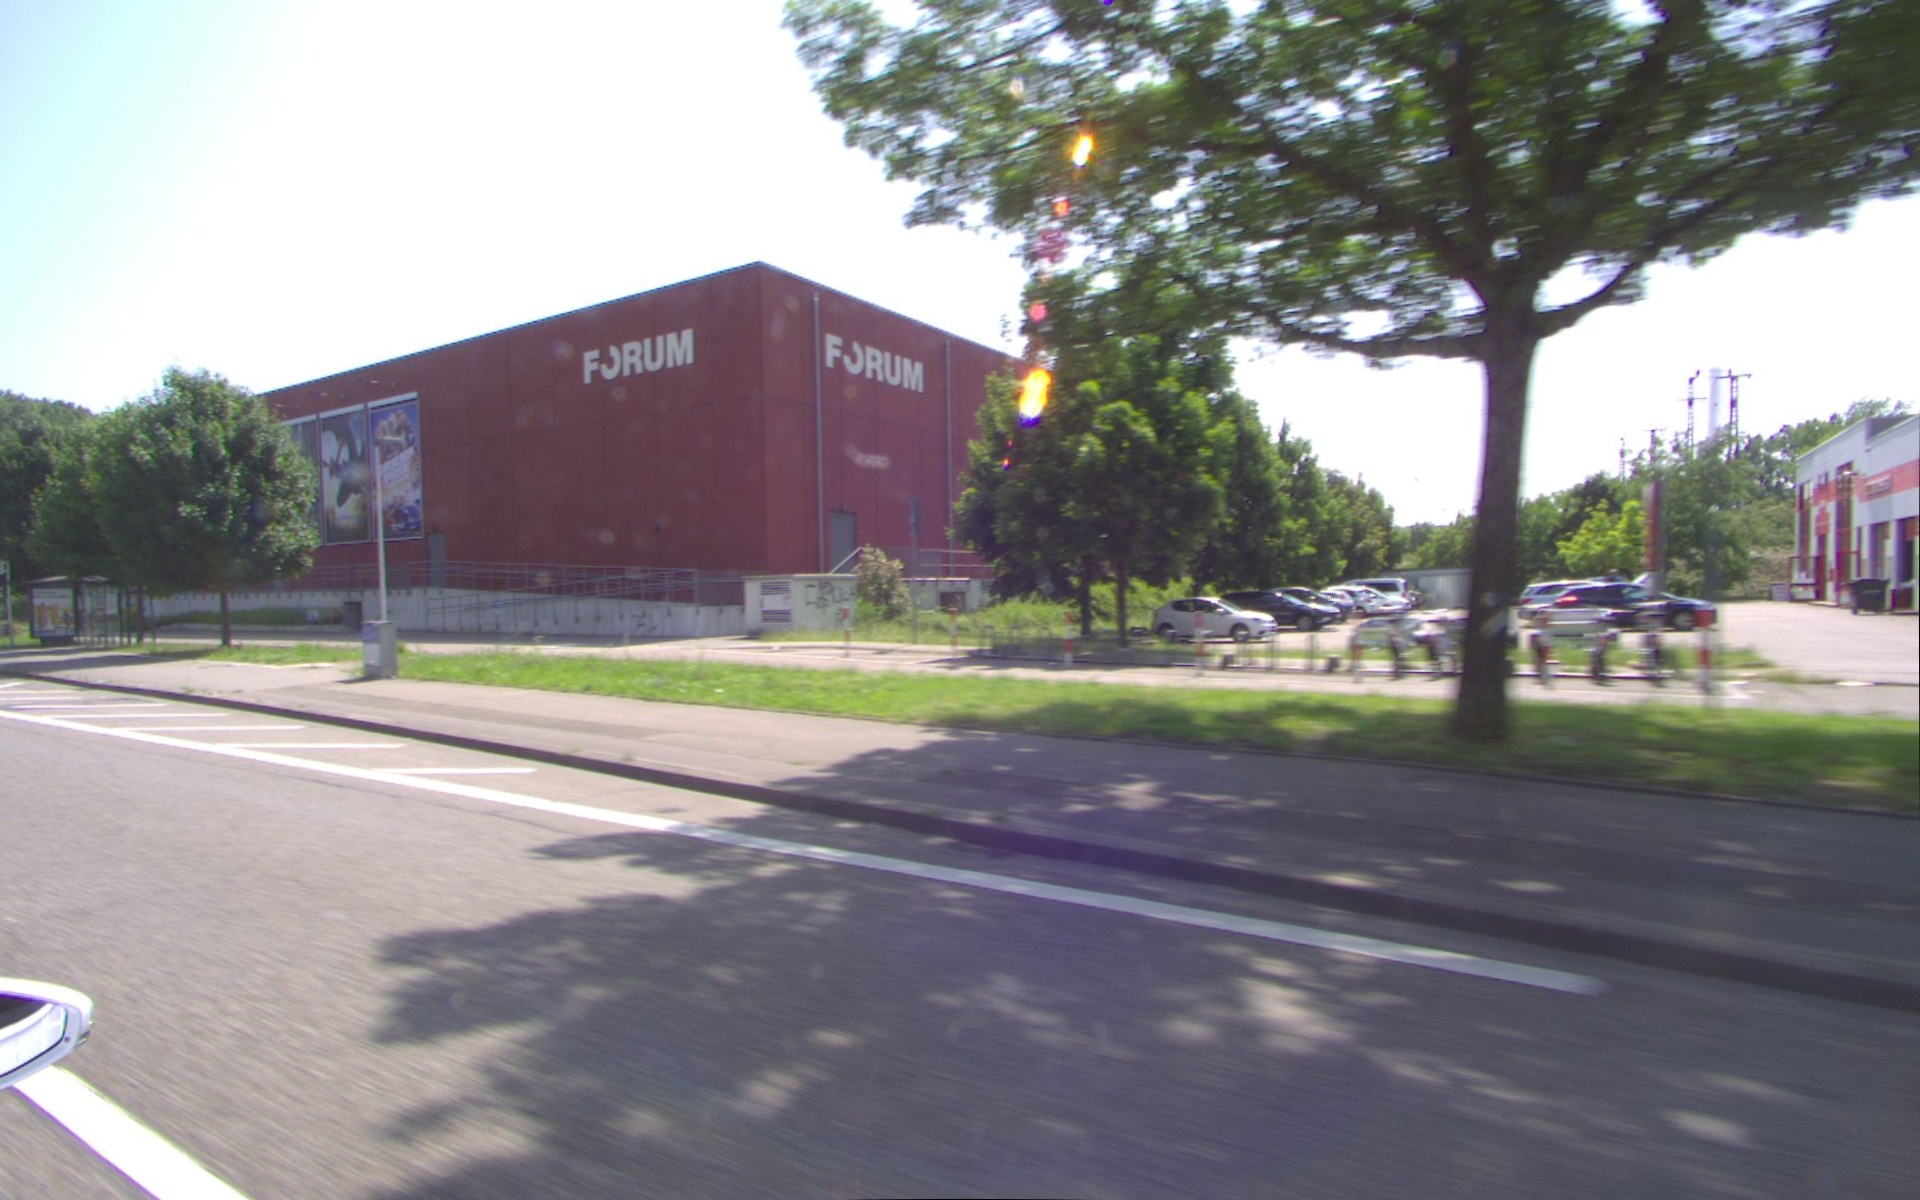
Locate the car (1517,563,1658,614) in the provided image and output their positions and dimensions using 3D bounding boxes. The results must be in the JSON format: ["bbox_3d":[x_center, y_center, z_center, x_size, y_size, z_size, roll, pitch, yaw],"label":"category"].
[{"bbox_3d":[21.794,-0.367,34.901,4.086,1.685,1.708,0,1,33],"label":"car"}]

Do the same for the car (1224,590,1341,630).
[{"bbox_3d":[12.282,0.352,38.228,3.945,1.445,1.701,0,1,34],"label":"car"}]

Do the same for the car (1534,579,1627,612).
[{"bbox_3d":[31.237,-0.227,50.481,3.943,1.628,1.702,0,1,32],"label":"car"}]

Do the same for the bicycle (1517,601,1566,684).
[{"bbox_3d":[8.661,0.602,14.956,0.506,1.139,1.778,0,1,26],"label":"bicycle"}]

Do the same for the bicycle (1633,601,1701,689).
[{"bbox_3d":[10.001,0.602,14.213,0.506,1.139,1.778,0,1,26],"label":"bicycle"}]

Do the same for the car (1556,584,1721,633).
[{"bbox_3d":[20.671,0.251,30.700,4.086,1.391,1.708,0,1,33],"label":"car"}]

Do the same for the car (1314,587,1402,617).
[{"bbox_3d":[20.040,0.106,50.453,3.943,1.478,1.702,0,1,32],"label":"car"}]

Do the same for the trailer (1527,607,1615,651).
[{"bbox_3d":[11.984,0.537,19.610,1.374,0.771,2.126,0,1,34],"label":"trailer"}]

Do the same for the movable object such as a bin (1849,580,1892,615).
[{"bbox_3d":[33.634,-0.102,37.017,1.053,1.276,0.996,0,2,37],"label":"movable object such as a bin"}]

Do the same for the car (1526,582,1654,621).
[{"bbox_3d":[23.249,0.054,37.082,3.943,1.391,1.717,0,1,32],"label":"car"}]

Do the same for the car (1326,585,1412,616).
[{"bbox_3d":[21.388,0.018,52.422,3.943,1.583,1.702,0,1,32],"label":"car"}]

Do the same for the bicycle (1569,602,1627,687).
[{"bbox_3d":[9.297,0.616,14.633,0.506,1.139,1.778,0,1,26],"label":"bicycle"}]

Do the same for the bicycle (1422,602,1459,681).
[{"bbox_3d":[7.607,0.620,15.842,0.506,1.139,1.778,0,1,26],"label":"bicycle"}]

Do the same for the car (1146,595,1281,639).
[{"bbox_3d":[8.125,0.519,32.168,3.916,1.331,1.644,0,1,33],"label":"car"}]

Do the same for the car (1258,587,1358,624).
[{"bbox_3d":[15.557,0.243,44.838,3.945,1.602,1.701,0,1,34],"label":"car"}]

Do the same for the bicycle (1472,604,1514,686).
[{"bbox_3d":[8.077,0.644,15.212,0.506,1.139,1.778,0,1,26],"label":"bicycle"}]

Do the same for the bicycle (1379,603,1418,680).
[{"bbox_3d":[7.135,0.639,16.251,0.506,1.139,1.778,0,1,26],"label":"bicycle"}]

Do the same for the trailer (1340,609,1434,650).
[{"bbox_3d":[9.191,0.607,21.489,1.429,0.771,2.454,0,1,34],"label":"trailer"}]

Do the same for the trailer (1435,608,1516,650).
[{"bbox_3d":[10.684,0.581,20.710,1.249,0.771,2.126,0,1,34],"label":"trailer"}]

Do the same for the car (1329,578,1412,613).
[{"bbox_3d":[22.373,-0.243,54.606,3.947,1.795,1.700,0,1,36],"label":"car"}]
